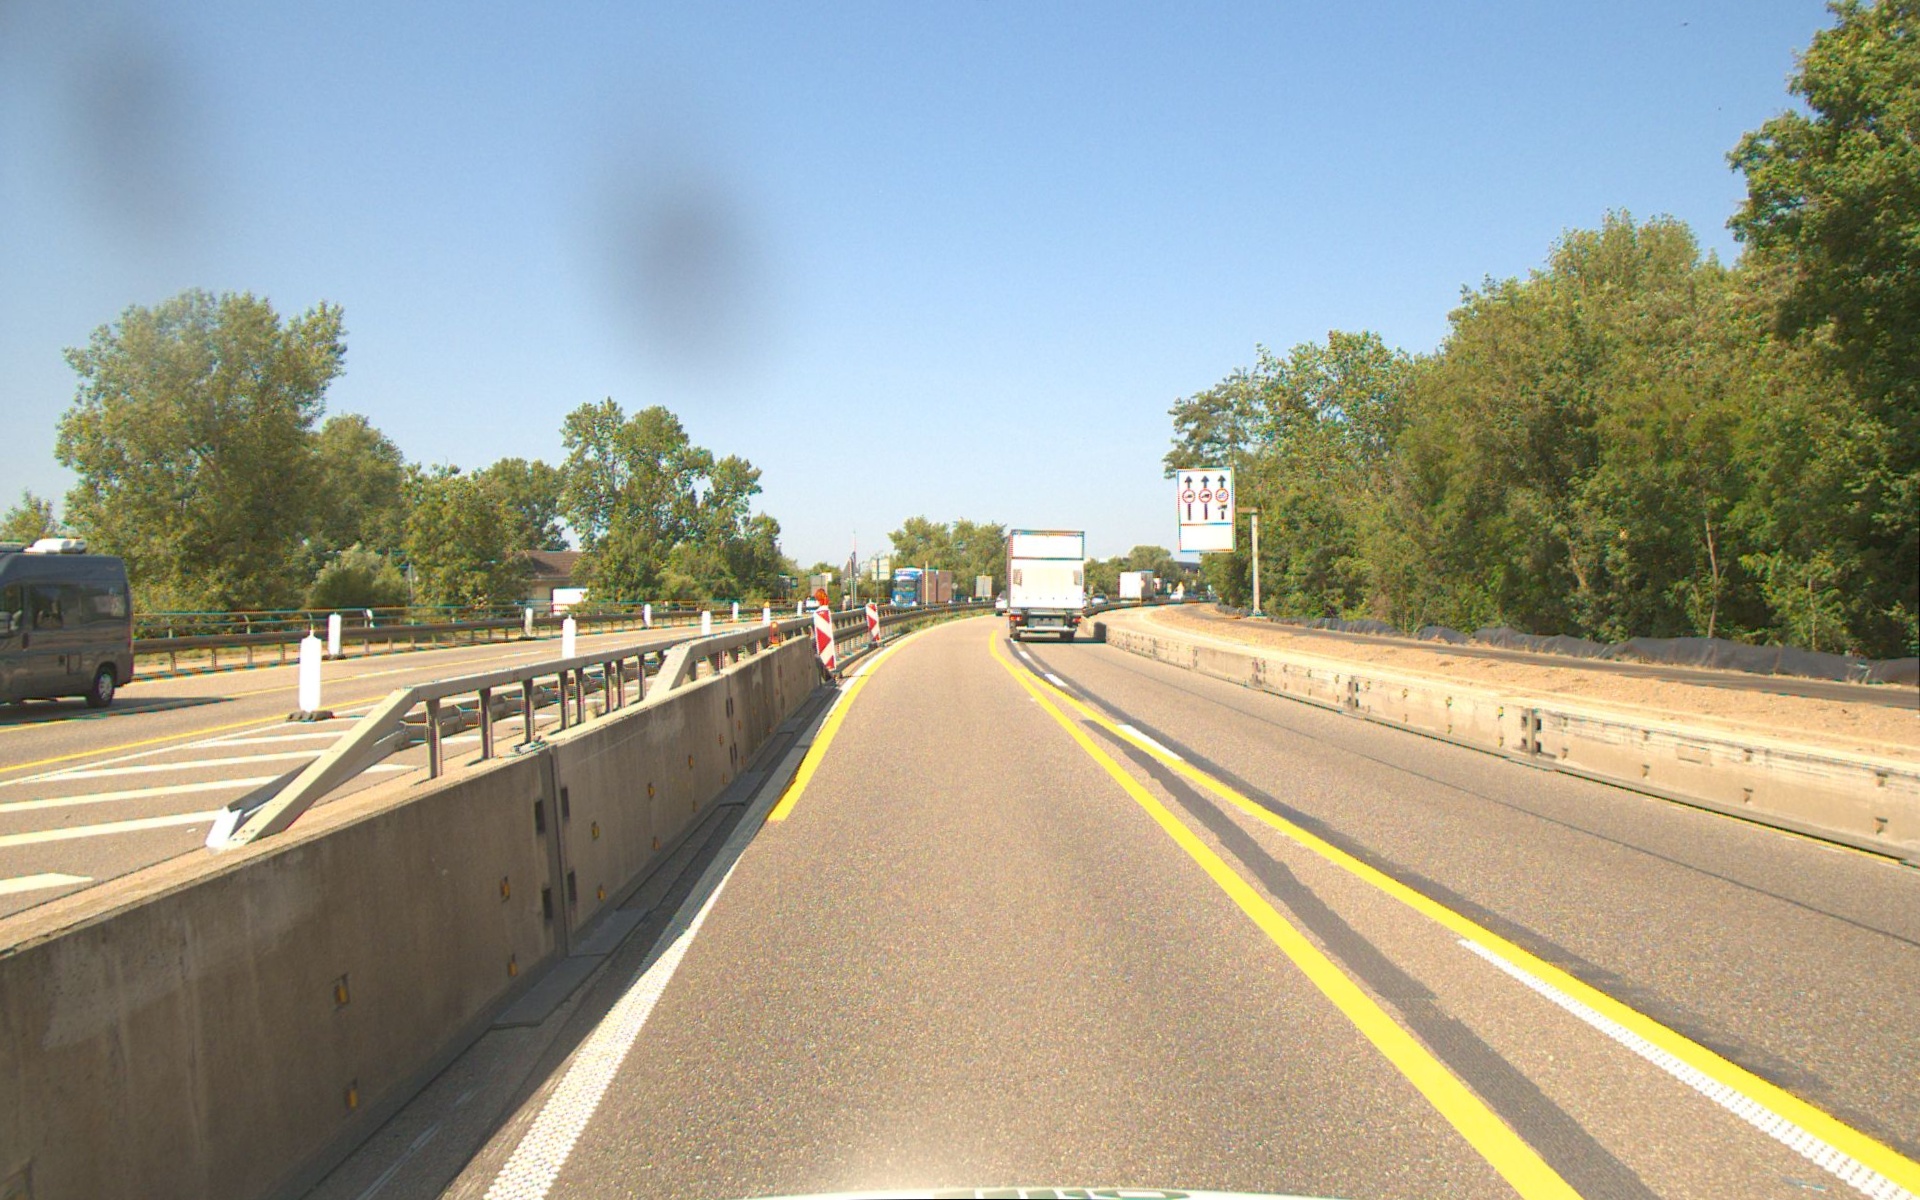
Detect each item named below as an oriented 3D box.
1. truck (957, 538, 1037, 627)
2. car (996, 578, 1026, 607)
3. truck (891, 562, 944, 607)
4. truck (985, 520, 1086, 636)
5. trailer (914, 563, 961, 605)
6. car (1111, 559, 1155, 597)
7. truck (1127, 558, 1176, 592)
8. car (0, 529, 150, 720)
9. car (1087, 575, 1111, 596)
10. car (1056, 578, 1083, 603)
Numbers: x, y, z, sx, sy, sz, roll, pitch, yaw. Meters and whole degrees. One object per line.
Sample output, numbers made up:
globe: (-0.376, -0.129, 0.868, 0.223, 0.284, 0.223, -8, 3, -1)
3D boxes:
truck: (1.656, -0.812, 77.471, 3.320, 3.839, 7.232, -2, 0, -1)
car: (3.421, -0.529, 110.176, 1.778, 1.807, 4.003, -2, 0, 5)
truck: (-4.056, -1.526, 160.642, 2.973, 4.162, 10.634, 0, 1, 10)
truck: (2.348, -0.700, 53.845, 2.582, 3.487, 7.229, 1, 1, -3)
trailer: (-2.272, -1.657, 170.730, 2.973, 4.162, 9.797, 0, 1, 10)
car: (21.113, -2.735, 201.240, 4.117, 4.325, 10.671, -2, 1, 12)
truck: (26.523, -3.519, 228.583, 4.133, 4.341, 10.241, -2, 1, 22)
car: (-14.664, 0.354, 24.871, 2.102, 2.707, 5.547, -1, 0, 1)
car: (14.023, -1.476, 166.454, 1.951, 2.048, 4.004, -2, 0, 10)
car: (9.341, -0.806, 140.938, 1.951, 2.048, 4.004, -2, 0, 9)
